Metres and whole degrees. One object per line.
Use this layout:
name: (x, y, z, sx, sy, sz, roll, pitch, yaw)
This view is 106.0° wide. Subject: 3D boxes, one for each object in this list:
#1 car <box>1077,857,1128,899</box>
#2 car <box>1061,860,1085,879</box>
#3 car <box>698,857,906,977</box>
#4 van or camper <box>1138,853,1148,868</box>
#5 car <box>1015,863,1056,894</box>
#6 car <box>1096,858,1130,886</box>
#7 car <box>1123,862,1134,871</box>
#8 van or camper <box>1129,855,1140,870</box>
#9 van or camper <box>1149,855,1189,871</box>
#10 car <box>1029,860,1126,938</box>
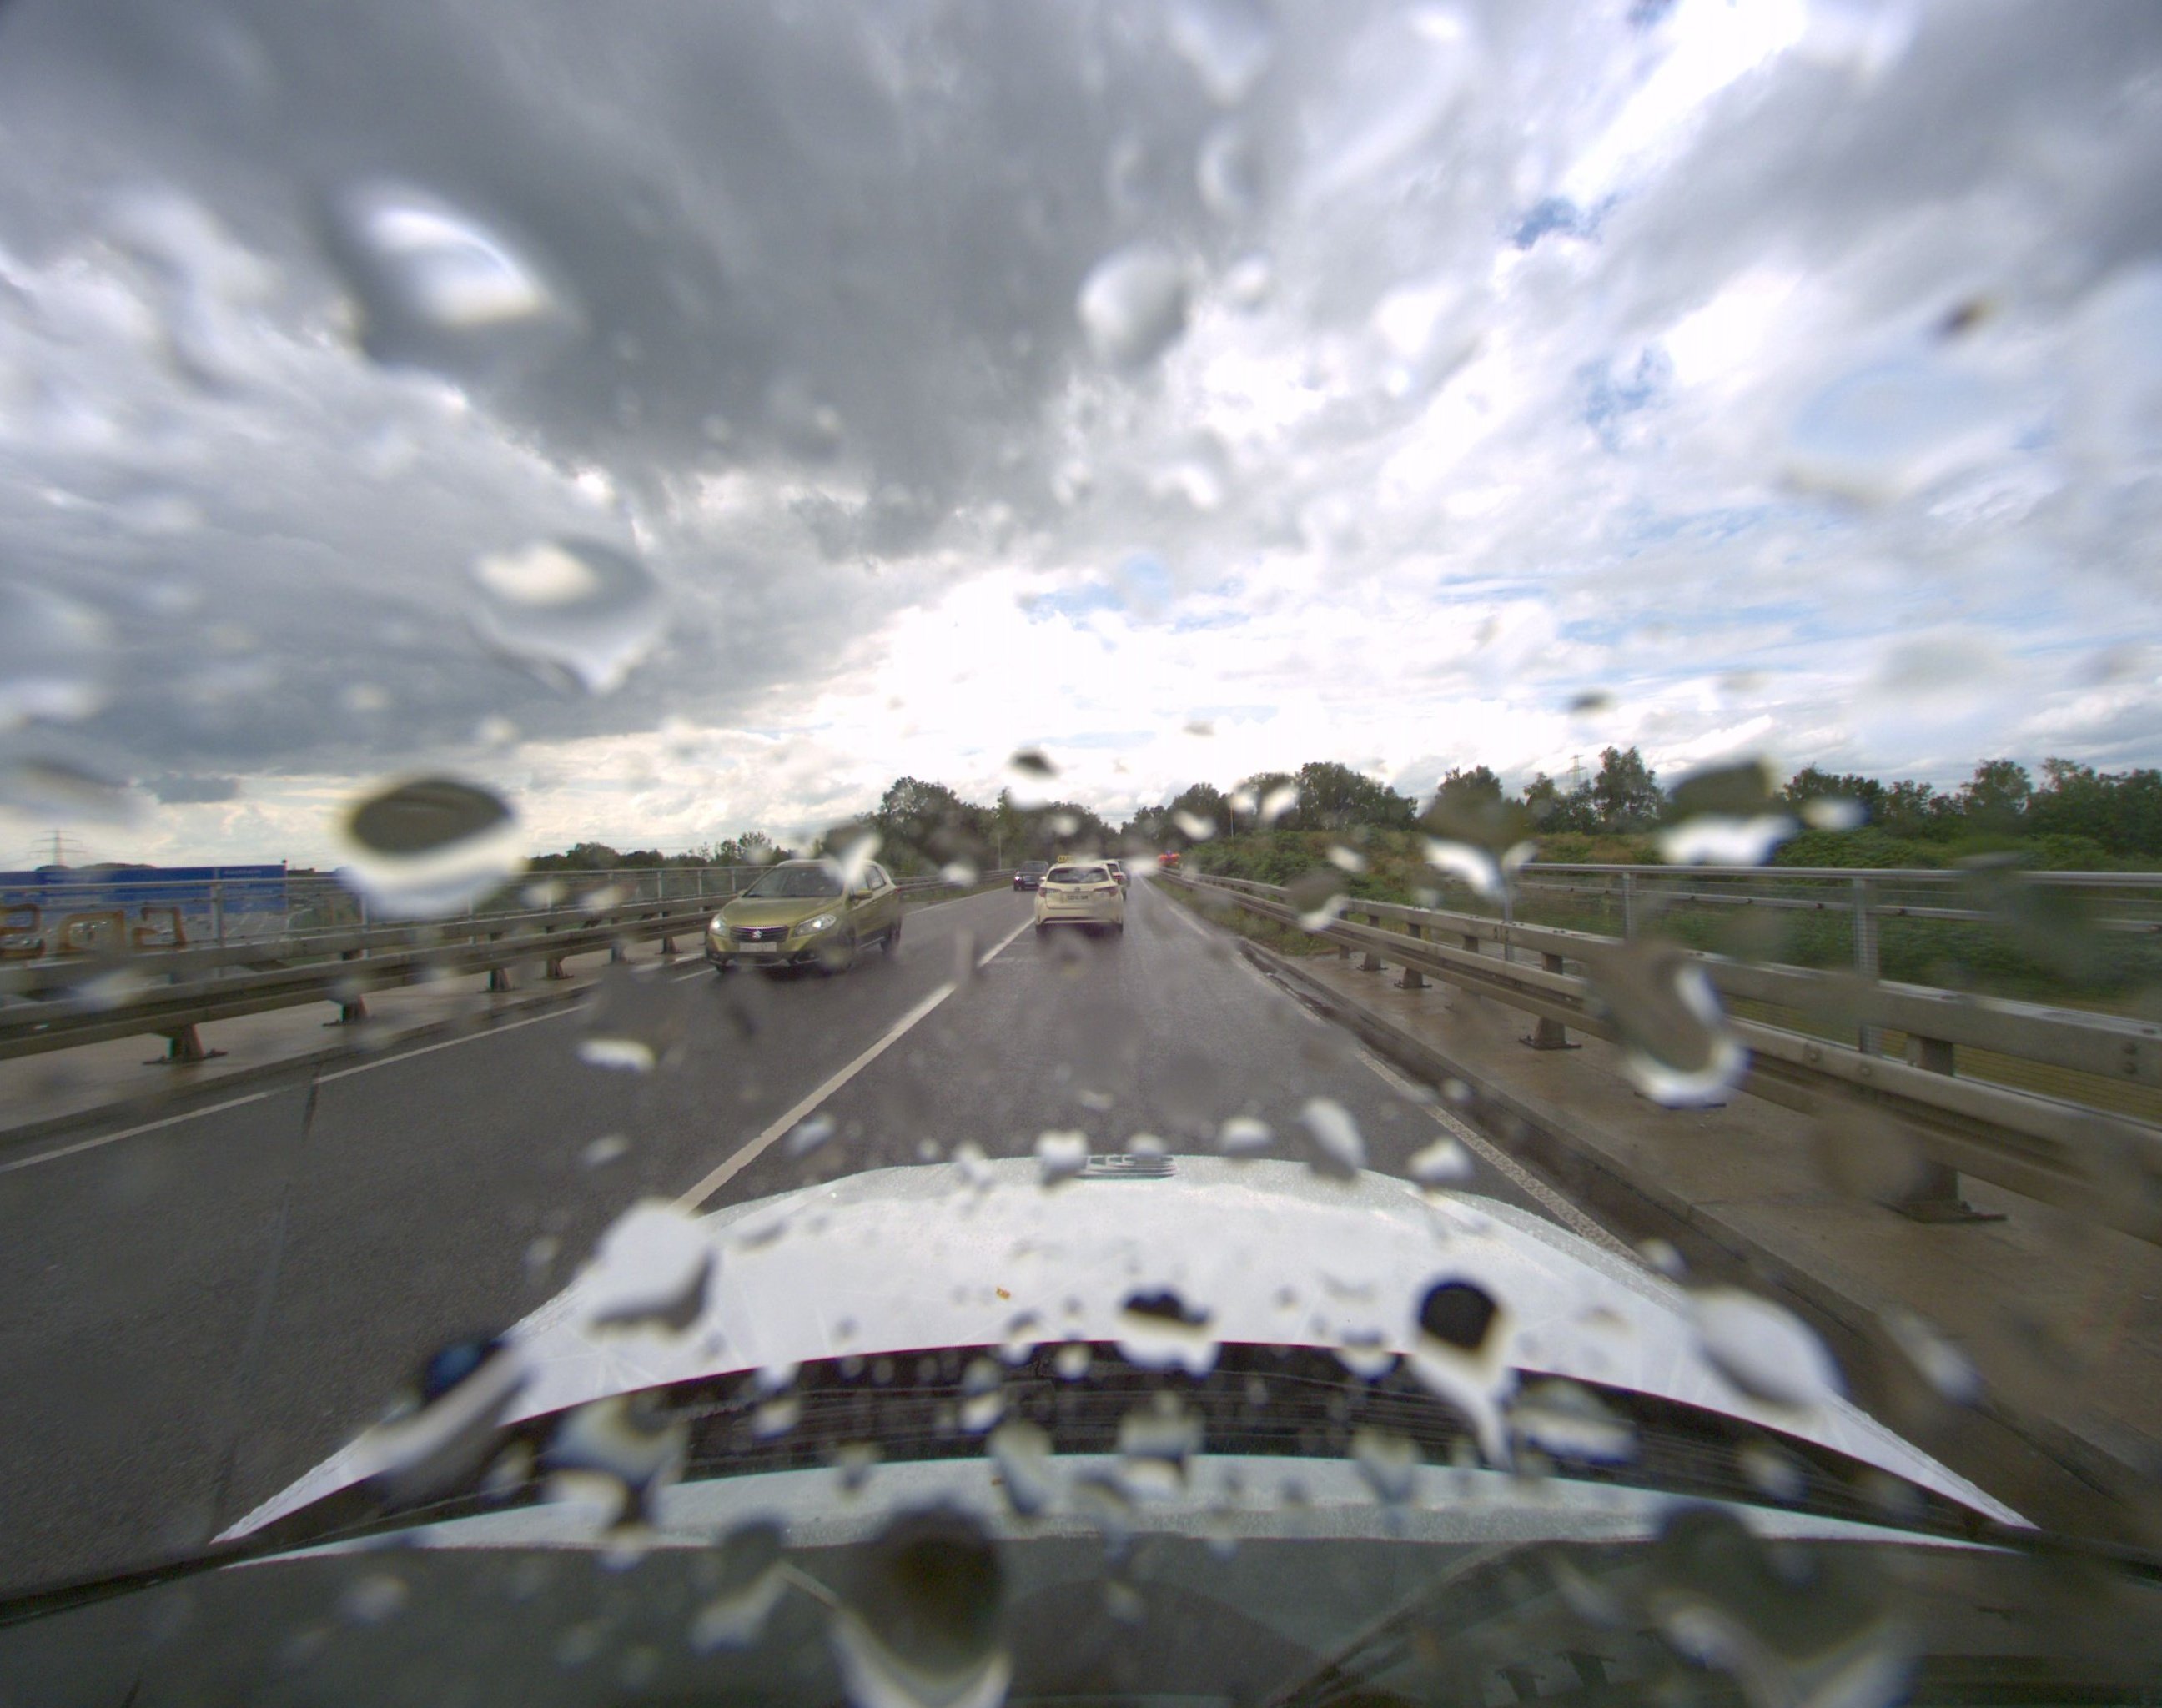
car: (0.842, 0.873, 31.423, 1.847, 1.443, 4.173, 0, 1, 2)
car: (-0.625, 1.263, 69.238, 1.803, 1.509, 4.613, 0, 0, 2)
car: (-3.969, 0.840, 12.311, 1.707, 1.517, 3.860, 0, -1, 2)
van or camper: (14.927, 1.581, 195.233, 2.323, 3.562, 6.312, 0, 0, 3)
car: (-2.255, 1.194, 41.163, 1.690, 1.432, 4.325, 0, 0, 1)
car: (1.836, 0.991, 47.025, 1.847, 1.443, 4.173, 0, 1, 2)
car: (8.268, 2.154, 141.483, 1.845, 1.443, 4.177, 0, 0, 6)
van or camper: (10.777, 1.750, 164.297, 2.323, 2.864, 6.312, 0, 0, 3)
van or camper: (13.274, 1.327, 123.376, 5.683, 2.241, 2.011, 0, 0, -13)
car: (0.007, 0.873, 17.601, 1.847, 1.394, 4.173, 0, 1, 2)
